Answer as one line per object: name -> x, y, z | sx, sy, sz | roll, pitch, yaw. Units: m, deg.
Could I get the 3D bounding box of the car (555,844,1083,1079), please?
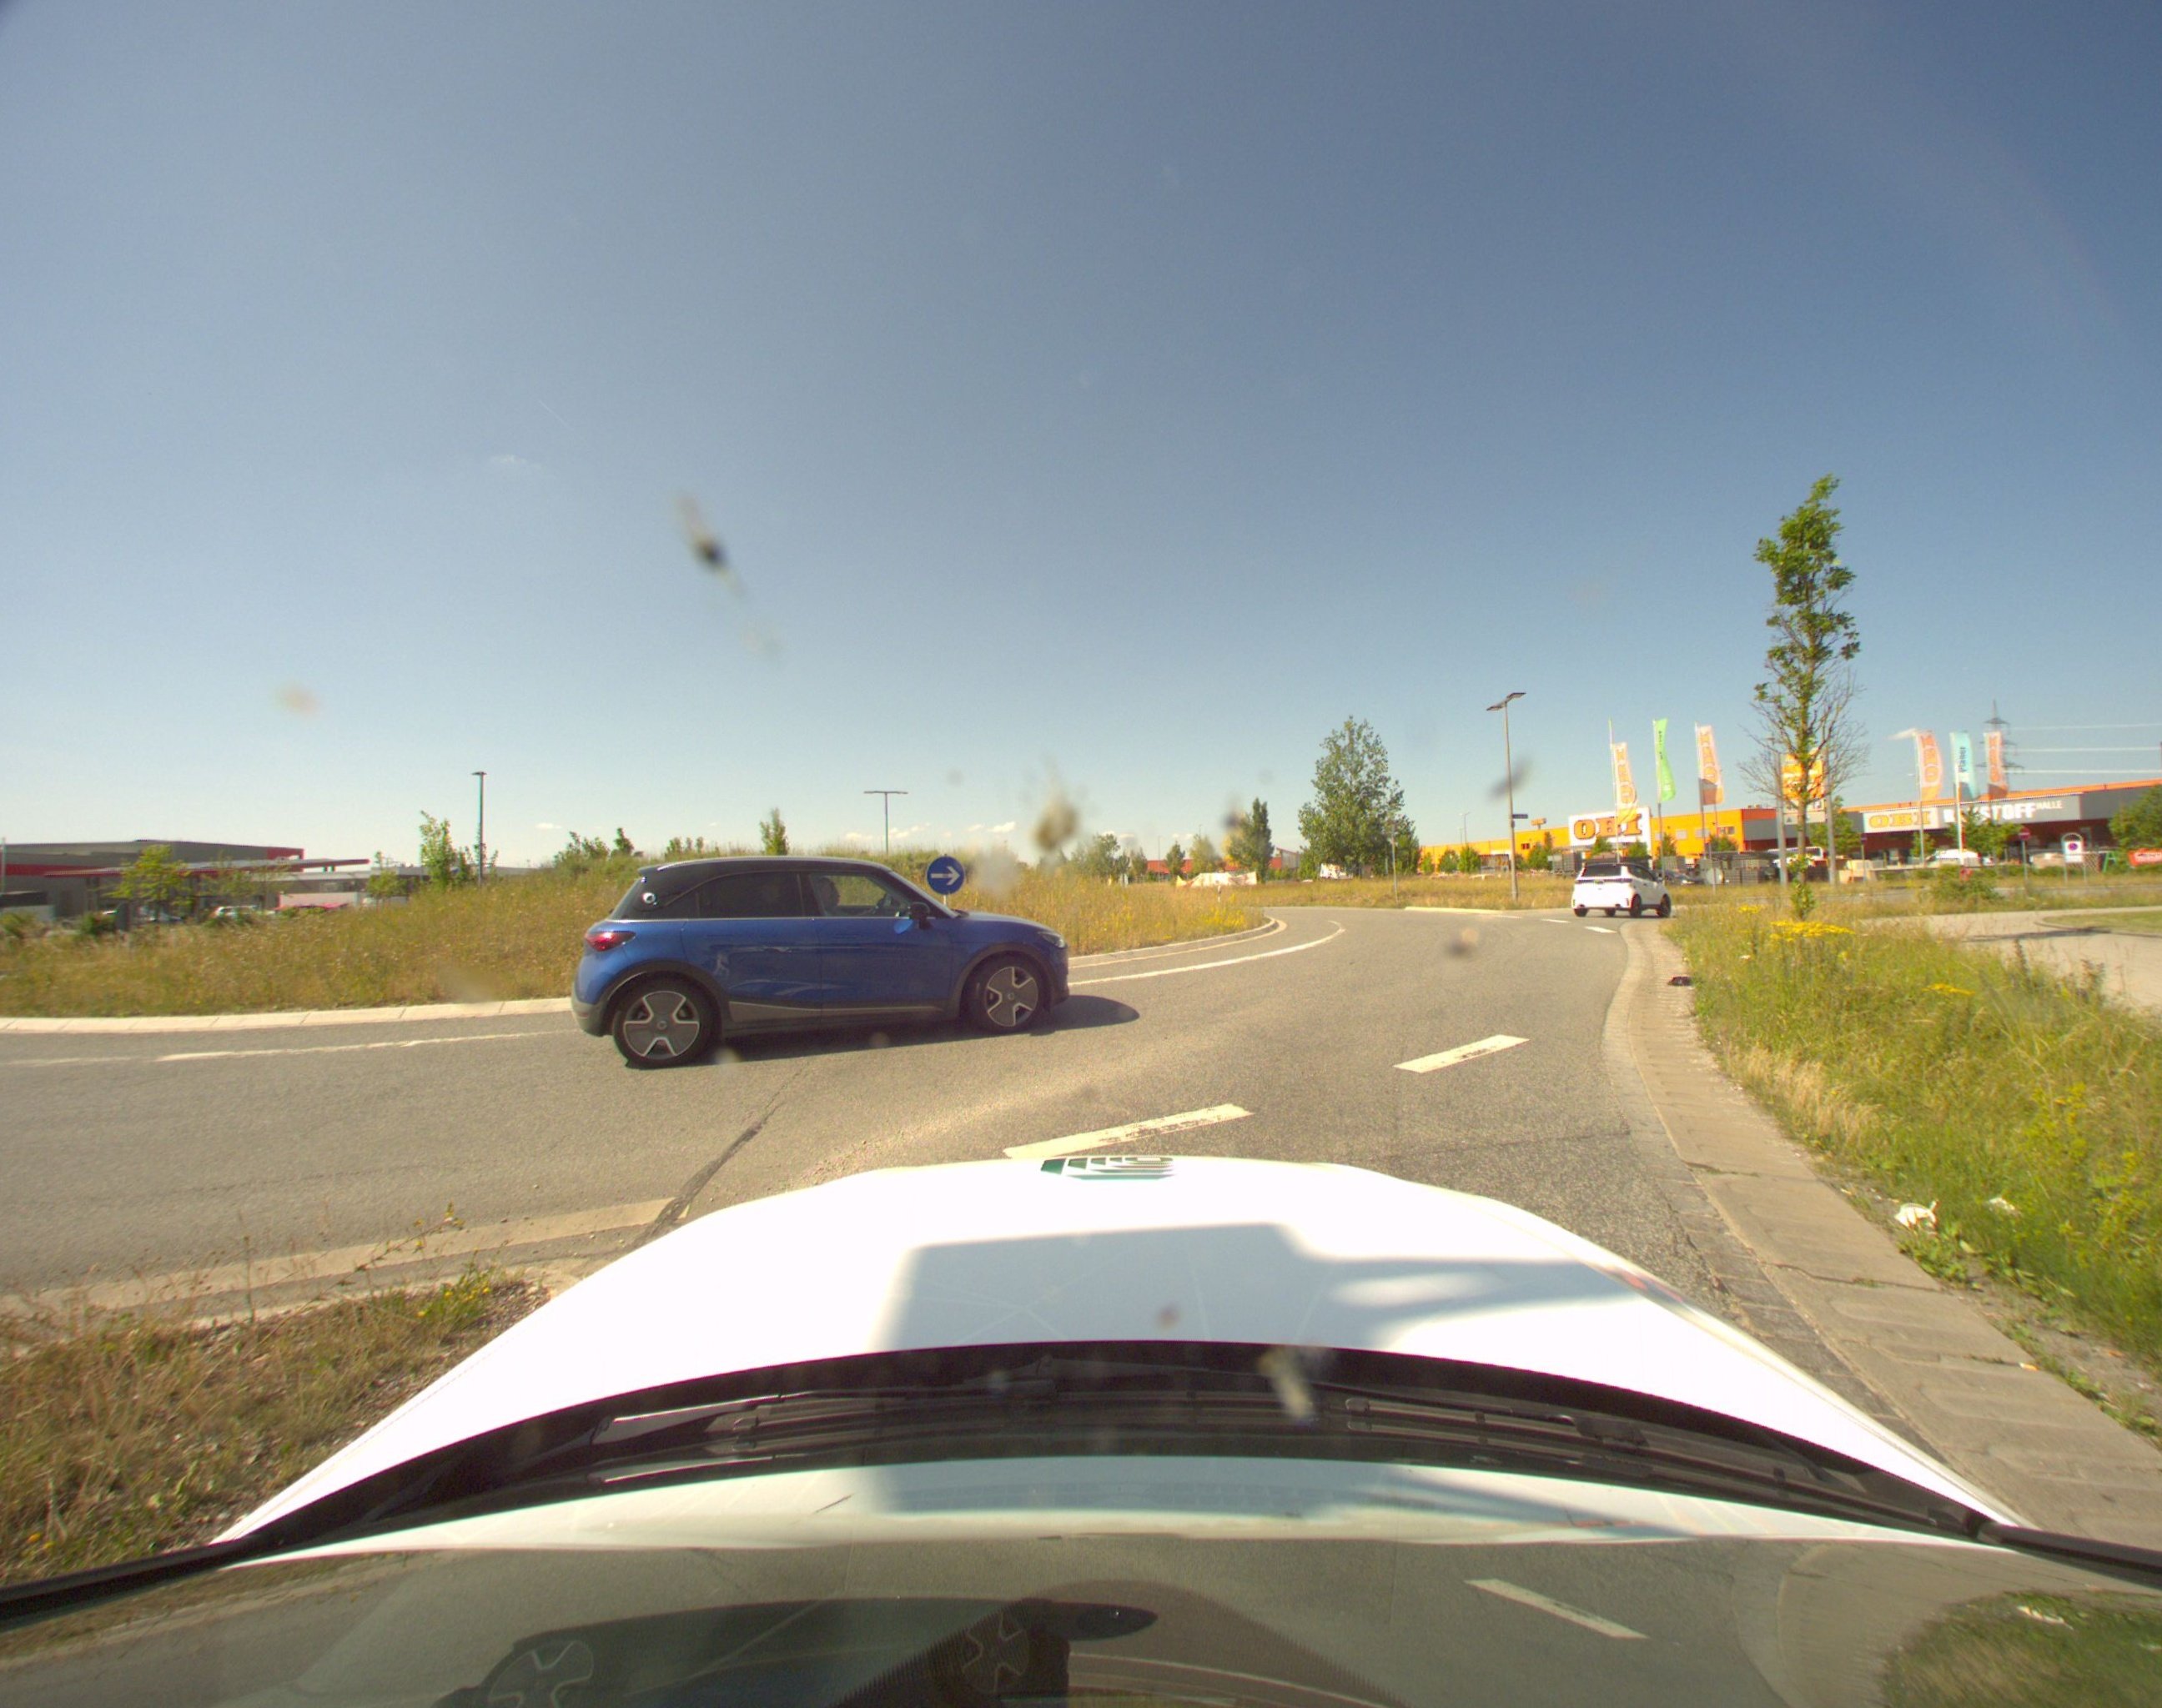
car -> -2.224, 0.796, 7.544 | 4.080, 1.635, 1.844 | -2, -1, -20

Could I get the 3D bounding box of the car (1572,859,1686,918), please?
car -> 14.988, 0.899, 22.239 | 3.366, 1.440, 1.497 | -1, -2, -37

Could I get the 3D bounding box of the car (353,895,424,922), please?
car -> -56.345, 4.375, 66.389 | 1.993, 2.014, 5.118 | -1, -3, -10

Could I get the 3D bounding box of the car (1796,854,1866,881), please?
car -> 51.544, 0.952, 55.984 | 3.766, 1.841, 1.692 | 1, -3, -13
